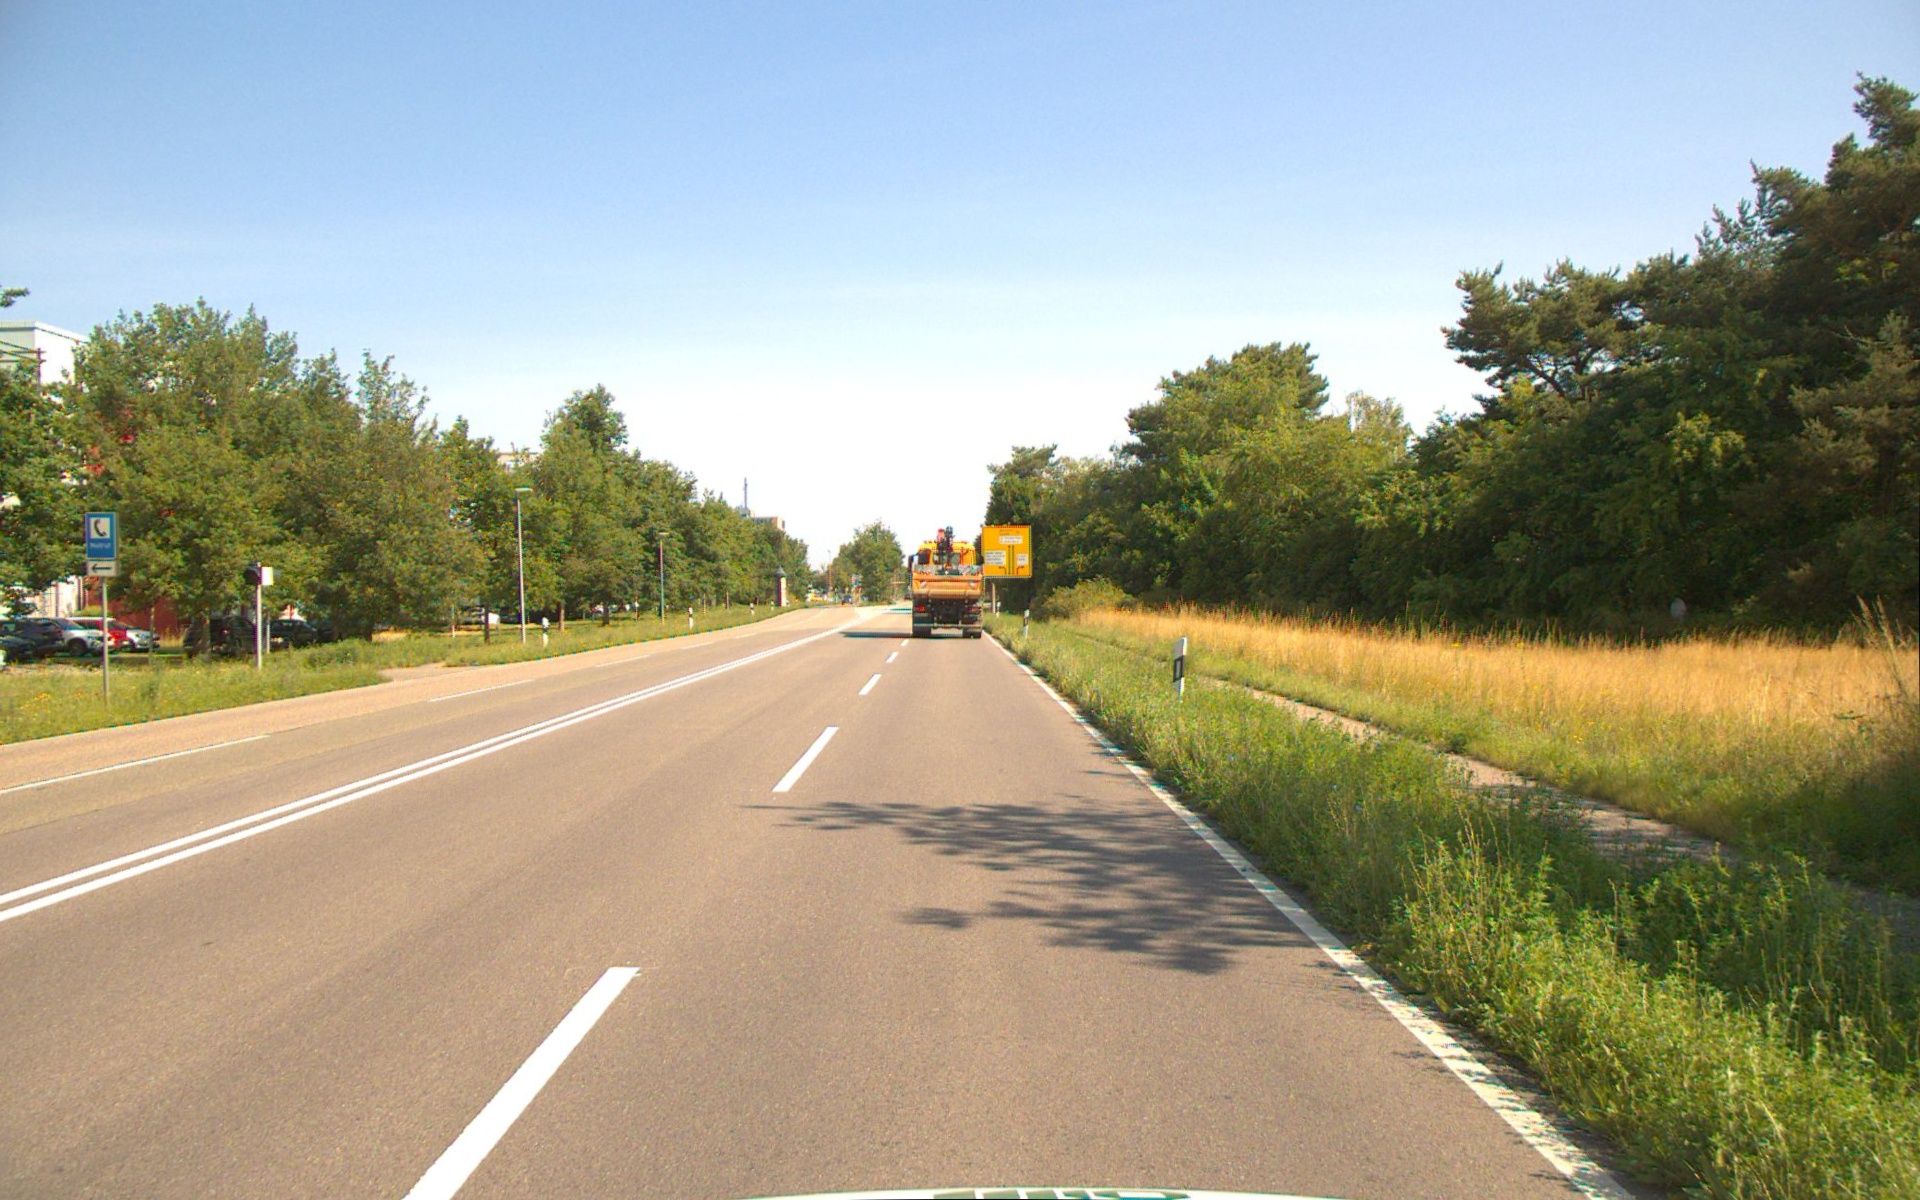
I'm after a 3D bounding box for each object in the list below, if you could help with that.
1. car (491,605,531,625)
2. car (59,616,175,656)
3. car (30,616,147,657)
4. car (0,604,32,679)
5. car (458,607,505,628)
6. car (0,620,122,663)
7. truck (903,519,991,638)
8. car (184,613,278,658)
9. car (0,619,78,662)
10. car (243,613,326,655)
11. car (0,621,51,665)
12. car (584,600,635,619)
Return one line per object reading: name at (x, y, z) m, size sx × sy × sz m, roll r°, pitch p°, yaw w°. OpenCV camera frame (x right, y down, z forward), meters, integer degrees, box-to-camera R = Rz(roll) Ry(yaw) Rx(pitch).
car at (-36.092, 1.203, 133.021) m, size 1.953 × 1.462 × 4.609 m, roll -1°, pitch 0°, yaw -1°
car at (-36.315, 1.536, 71.305) m, size 4.052 × 1.613 × 1.742 m, roll -1°, pitch 0°, yaw -2°
car at (-36.330, 1.522, 68.979) m, size 3.907 × 1.563 × 1.742 m, roll -1°, pitch 0°, yaw -2°
car at (-26.765, 1.112, 42.266) m, size 2.028 × 1.963 × 5.007 m, roll -1°, pitch 0°, yaw 29°
car at (-35.575, 1.279, 123.067) m, size 1.952 × 1.462 × 4.955 m, roll -1°, pitch 0°, yaw 1°
car at (-35.860, 1.645, 65.927) m, size 3.907 × 1.563 × 1.887 m, roll -1°, pitch 0°, yaw -2°
truck at (-0.558, -0.732, 59.488) m, size 2.814 × 3.948 × 7.395 m, roll 1°, pitch 0°, yaw -3°
car at (-28.489, 1.357, 64.809) m, size 1.707 × 1.606 × 4.548 m, roll -1°, pitch 0°, yaw -1°
car at (-36.390, 1.555, 63.608) m, size 3.907 × 1.563 × 1.887 m, roll -1°, pitch 0°, yaw -2°
car at (-28.636, 1.425, 70.241) m, size 1.707 × 1.606 × 4.548 m, roll -1°, pitch 0°, yaw -1°
car at (-35.961, 1.610, 60.865) m, size 3.907 × 1.563 × 1.887 m, roll -1°, pitch 0°, yaw -2°
car at (-33.746, 0.886, 159.208) m, size 4.501 × 1.679 × 2.000 m, roll -1°, pitch 0°, yaw -1°
